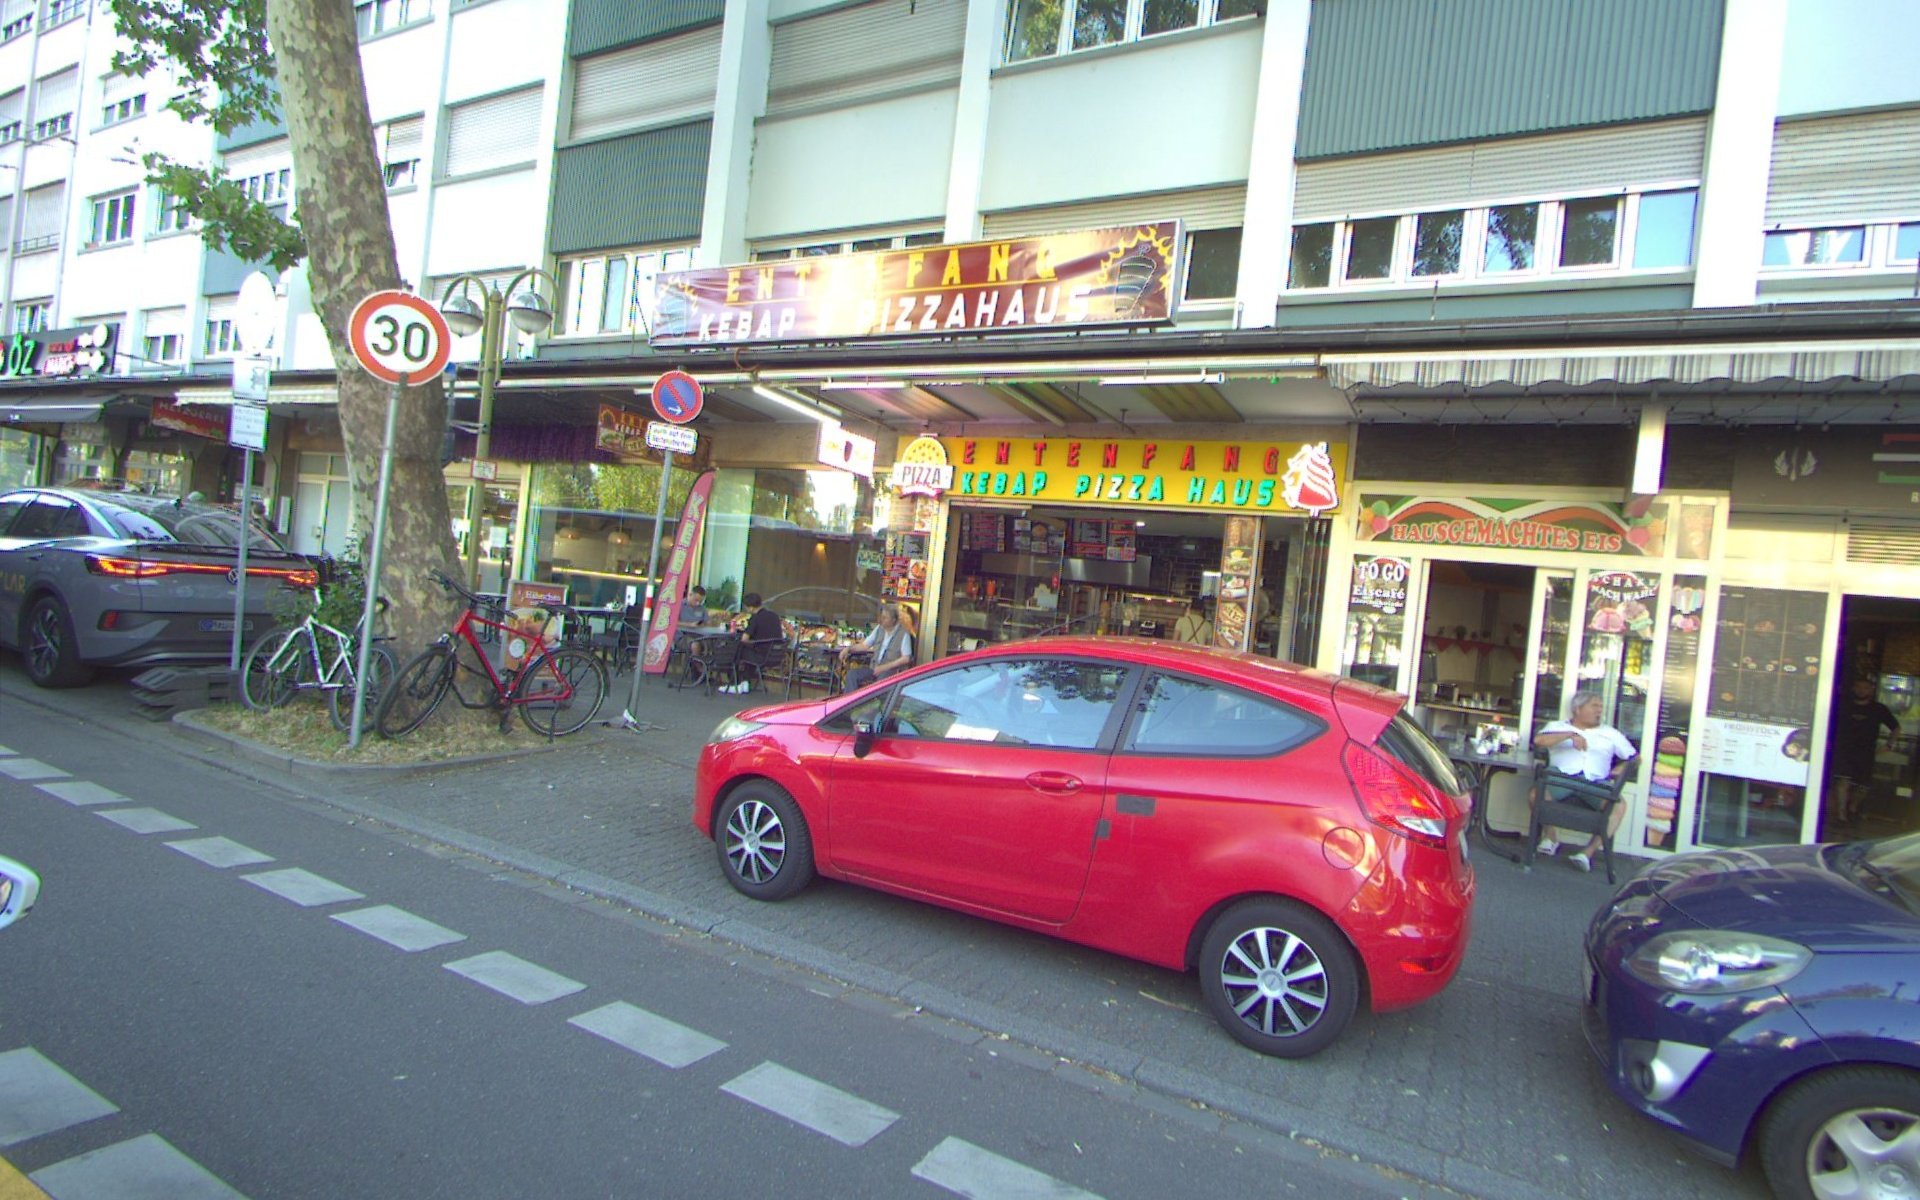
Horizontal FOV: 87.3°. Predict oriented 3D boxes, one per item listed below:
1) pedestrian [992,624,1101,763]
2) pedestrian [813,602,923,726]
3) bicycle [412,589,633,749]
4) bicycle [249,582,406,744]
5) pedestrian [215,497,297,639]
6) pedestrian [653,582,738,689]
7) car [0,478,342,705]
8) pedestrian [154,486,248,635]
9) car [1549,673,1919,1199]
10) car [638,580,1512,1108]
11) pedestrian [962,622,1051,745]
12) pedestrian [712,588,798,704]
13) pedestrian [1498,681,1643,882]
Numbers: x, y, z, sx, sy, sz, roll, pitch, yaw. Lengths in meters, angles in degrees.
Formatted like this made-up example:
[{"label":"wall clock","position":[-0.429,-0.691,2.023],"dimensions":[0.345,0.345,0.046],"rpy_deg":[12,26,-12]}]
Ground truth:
[{"label":"pedestrian","position":[0.812,0.848,9.407],"dimensions":[0.740,1.172,0.593],"rpy_deg":[6,3,33]},{"label":"pedestrian","position":[-0.989,0.677,10.856],"dimensions":[0.861,1.237,0.688],"rpy_deg":[3,3,-44]},{"label":"bicycle","position":[-3.242,0.502,7.547],"dimensions":[0.291,1.082,1.455],"rpy_deg":[12,6,42]},{"label":"bicycle","position":[-4.453,0.419,7.068],"dimensions":[1.110,0.941,0.295],"rpy_deg":[9,6,21]},{"label":"pedestrian","position":[-10.662,-0.480,15.241],"dimensions":[0.684,2.038,0.613],"rpy_deg":[6,0,29]},{"label":"pedestrian","position":[-3.246,0.427,12.351],"dimensions":[0.694,1.220,0.675],"rpy_deg":[6,3,42]},{"label":"car","position":[-7.850,-0.204,9.203],"dimensions":[4.223,1.618,1.742],"rpy_deg":[6,2,27]},{"label":"pedestrian","position":[-10.936,-0.556,14.500],"dimensions":[0.684,2.038,0.692],"rpy_deg":[6,0,27]},{"label":"car","position":[3.877,1.208,2.918],"dimensions":[3.543,1.485,1.620],"rpy_deg":[7,2,29]},{"label":"car","position":[0.469,0.836,4.983],"dimensions":[3.780,1.448,1.668],"rpy_deg":[6,2,27]},{"label":"pedestrian","position":[0.482,0.840,10.371],"dimensions":[0.585,1.172,0.671],"rpy_deg":[6,3,31]},{"label":"pedestrian","position":[-2.401,0.527,11.788],"dimensions":[0.701,1.260,0.614],"rpy_deg":[6,3,41]},{"label":"pedestrian","position":[4.627,1.302,7.612],"dimensions":[0.767,1.249,1.202],"rpy_deg":[6,2,33]}]
